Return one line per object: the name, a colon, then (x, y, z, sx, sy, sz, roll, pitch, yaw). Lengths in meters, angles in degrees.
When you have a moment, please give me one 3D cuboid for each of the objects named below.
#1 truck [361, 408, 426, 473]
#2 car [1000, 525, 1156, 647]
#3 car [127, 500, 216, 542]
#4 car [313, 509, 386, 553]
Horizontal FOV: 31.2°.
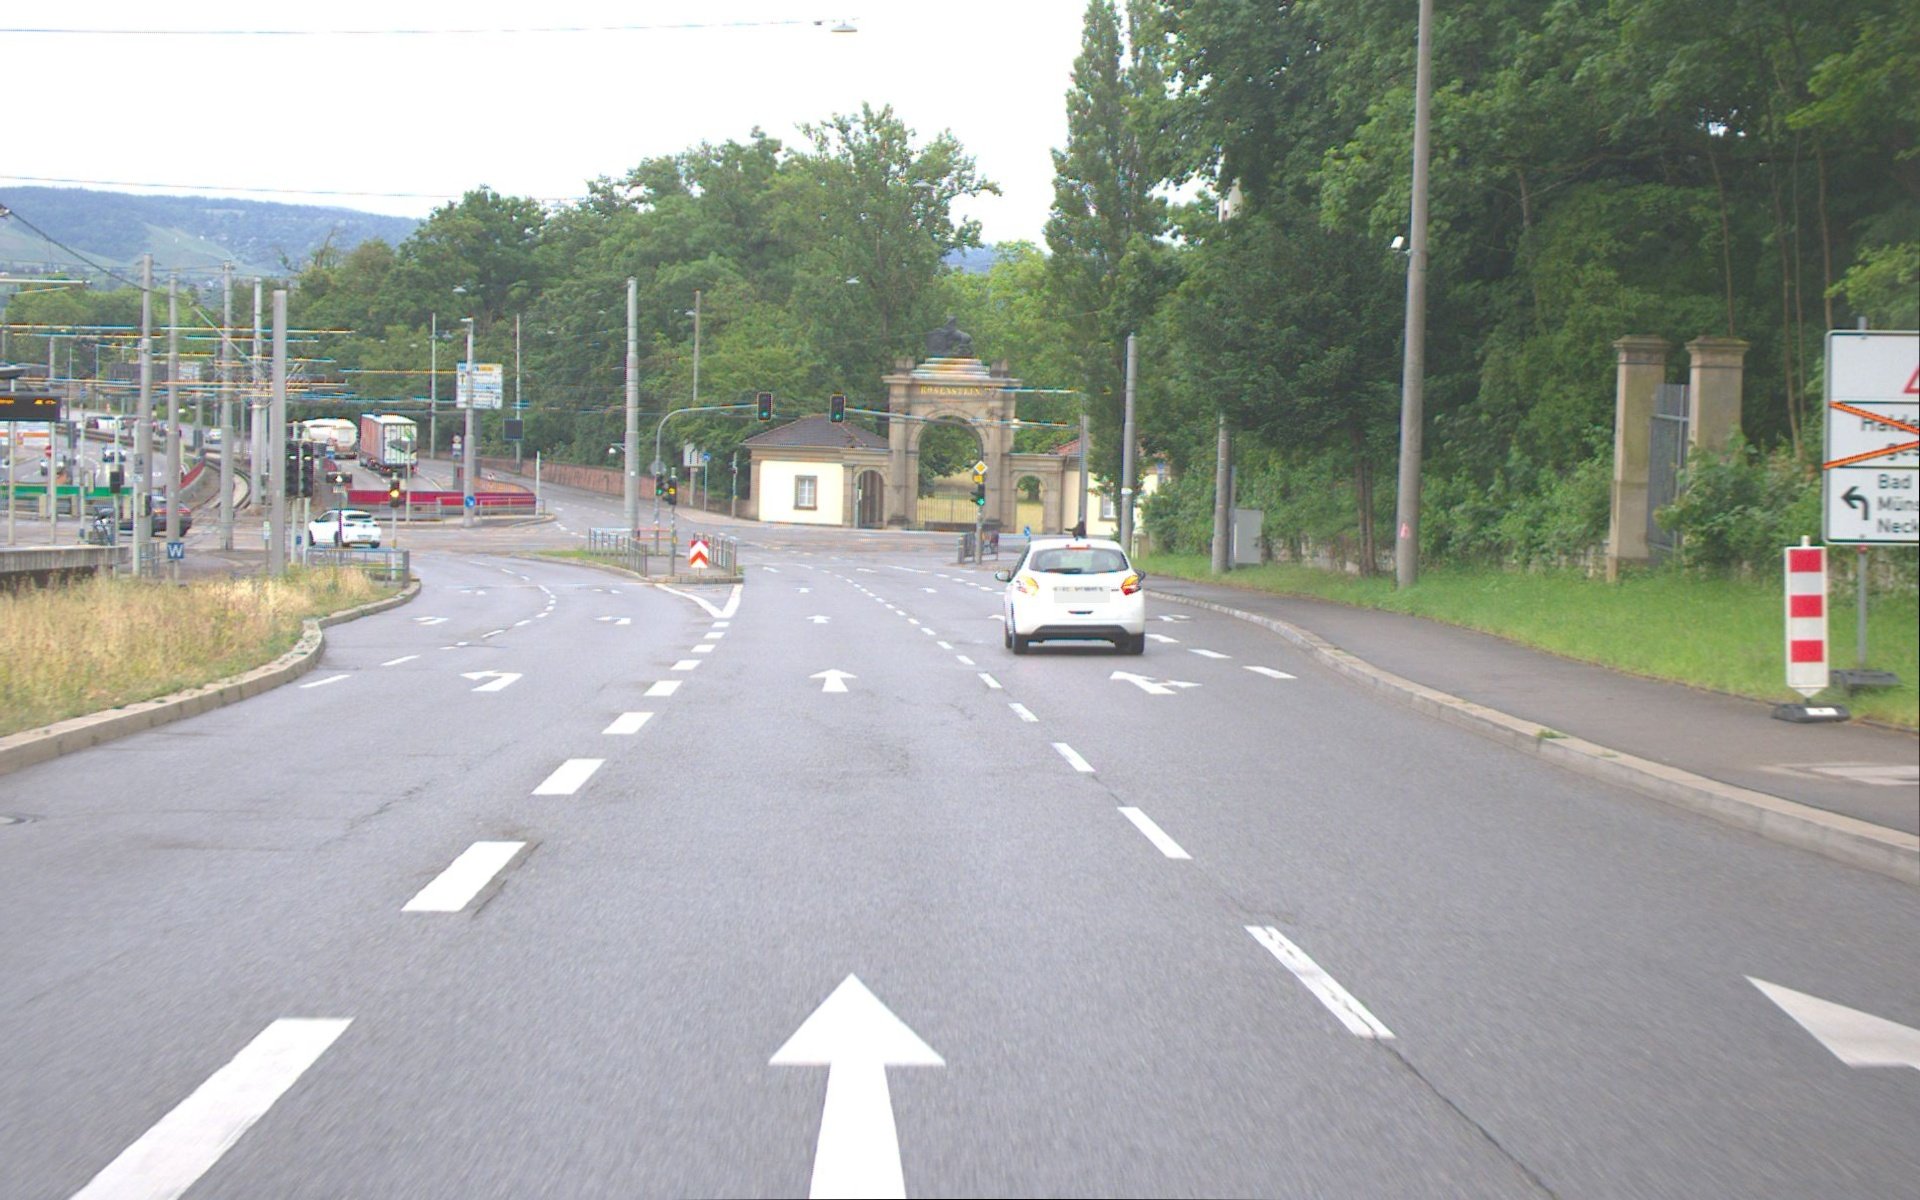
truck: (-42.432, -11.880, 257.191, 3.413, 4.555, 11.291, 3, 1, -15)
car: (1.490, -0.200, 44.697, 1.868, 1.505, 3.900, 0, 1, 0)
car: (-32.939, -3.293, 143.588, 1.994, 1.700, 3.999, 0, 2, -41)
car: (-23.745, -2.695, 133.604, 1.822, 1.600, 4.001, 0, 2, -25)
